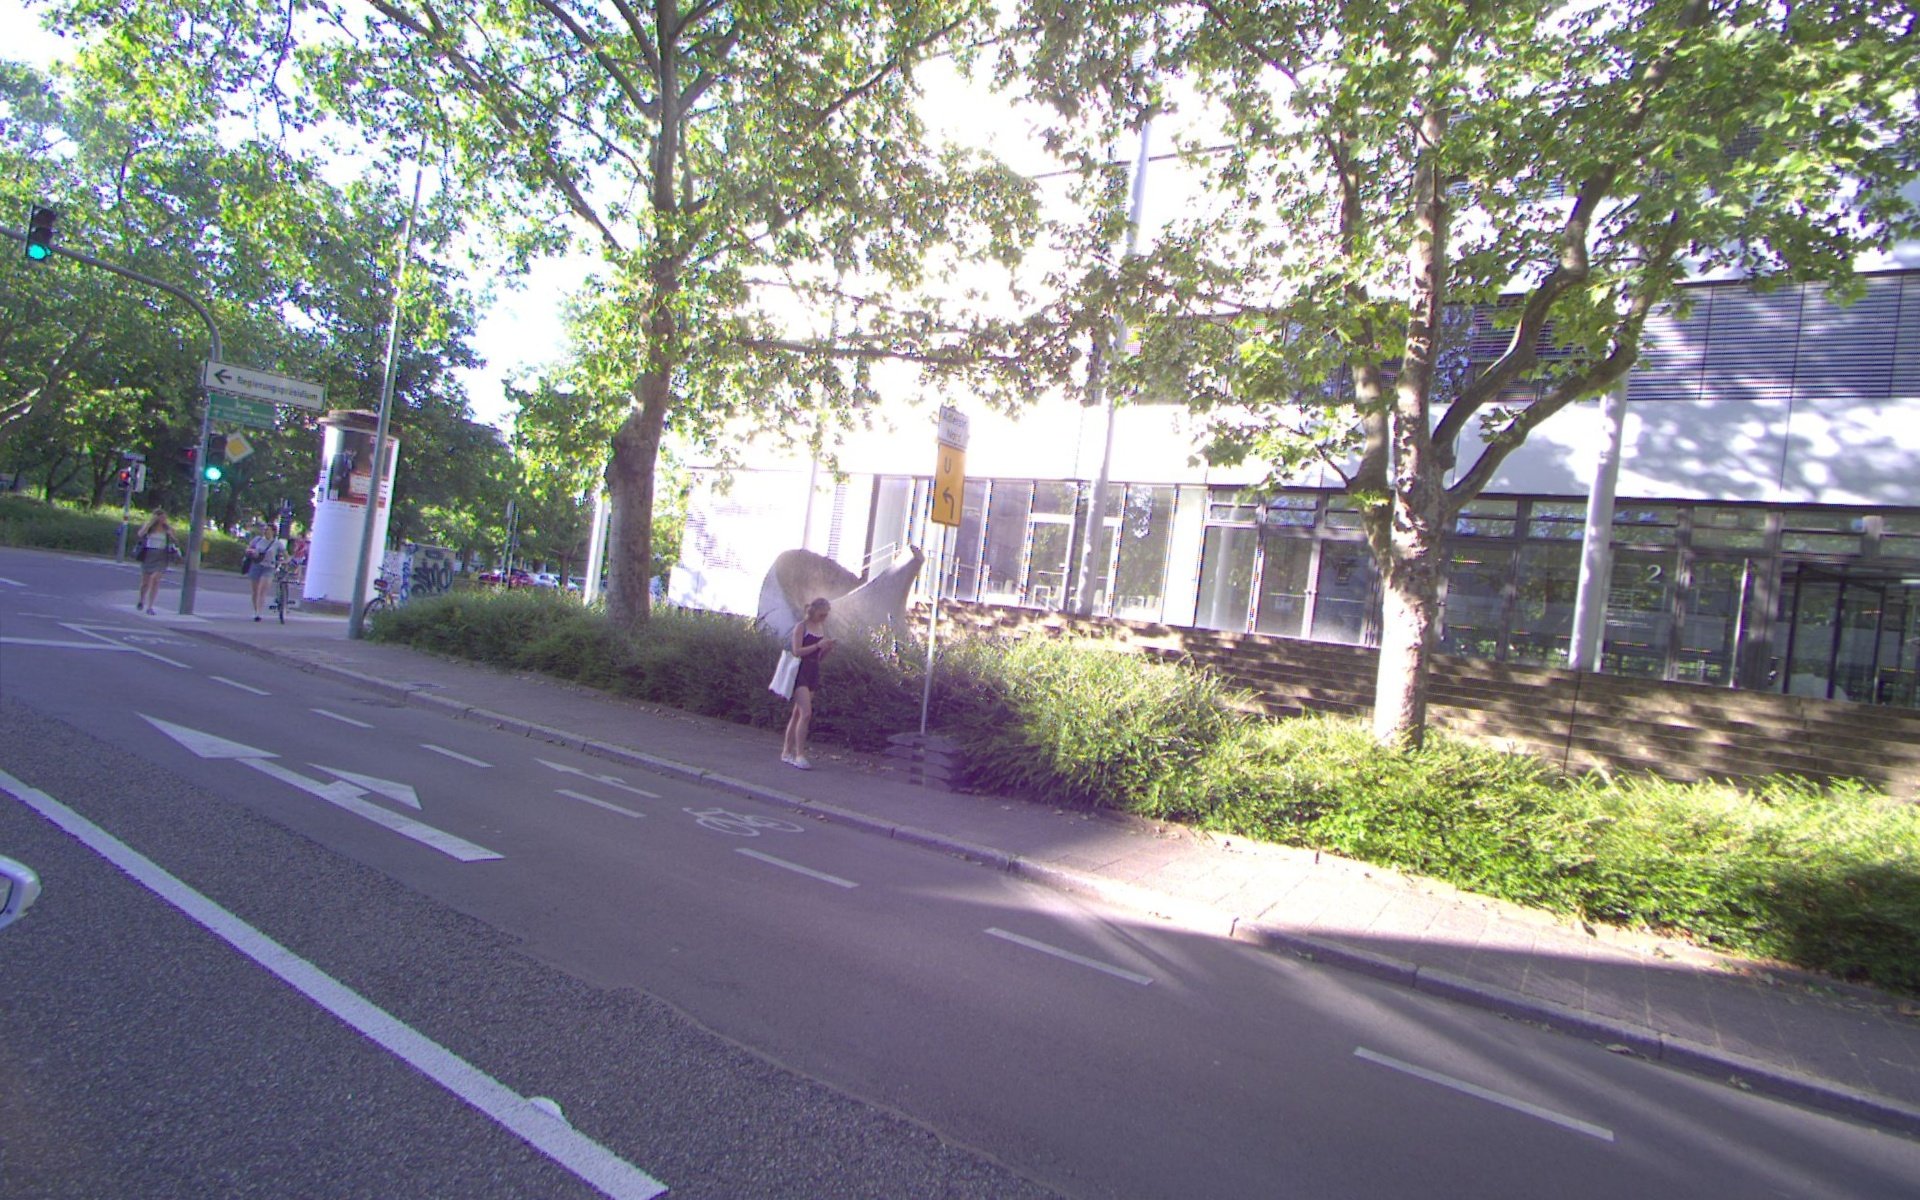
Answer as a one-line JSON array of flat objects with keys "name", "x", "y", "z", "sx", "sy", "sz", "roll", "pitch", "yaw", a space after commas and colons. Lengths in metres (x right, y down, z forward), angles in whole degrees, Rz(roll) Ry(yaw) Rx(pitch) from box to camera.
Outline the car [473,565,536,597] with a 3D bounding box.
[{"name": "car", "x": -28.512, "y": -1.223, "z": 62.917, "sx": 3.733, "sy": 1.499, "sz": 1.633, "roll": 6, "pitch": -2, "yaw": 32}]

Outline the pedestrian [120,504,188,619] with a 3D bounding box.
[{"name": "pedestrian", "x": -13.692, "y": -0.654, "z": 17.089, "sx": 0.729, "sy": 1.830, "sz": 0.899, "roll": 6, "pitch": -1, "yaw": -40}]

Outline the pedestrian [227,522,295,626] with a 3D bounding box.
[{"name": "pedestrian", "x": -12.352, "y": -0.460, "z": 17.774, "sx": 0.681, "sy": 1.717, "sz": 0.959, "roll": 9, "pitch": -2, "yaw": -43}]

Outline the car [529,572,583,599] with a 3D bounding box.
[{"name": "car", "x": -28.958, "y": -1.037, "z": 72.117, "sx": 3.733, "sy": 1.484, "sz": 1.575, "roll": 6, "pitch": -2, "yaw": 32}]

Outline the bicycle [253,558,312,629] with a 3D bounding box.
[{"name": "bicycle", "x": -12.222, "y": -0.135, "z": 18.131, "sx": 0.523, "sy": 1.112, "sz": 1.721, "roll": 9, "pitch": -2, "yaw": -42}]

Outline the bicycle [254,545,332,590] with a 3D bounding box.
[{"name": "bicycle", "x": -22.753, "y": -1.087, "z": 34.364, "sx": 0.589, "sy": 1.234, "sz": 2.035, "roll": 7, "pitch": -3, "yaw": 32}]

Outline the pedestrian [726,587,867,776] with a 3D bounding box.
[{"name": "pedestrian", "x": -1.583, "y": 0.766, "z": 9.765, "sx": 0.893, "sy": 1.651, "sz": 0.798, "roll": 7, "pitch": 2, "yaw": 34}]

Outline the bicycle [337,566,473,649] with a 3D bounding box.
[{"name": "bicycle", "x": -9.678, "y": 0.160, "z": 17.633, "sx": 0.519, "sy": 1.203, "sz": 1.980, "roll": 7, "pitch": -2, "yaw": 31}]

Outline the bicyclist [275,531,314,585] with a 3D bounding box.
[{"name": "bicyclist", "x": -22.715, "y": -1.439, "z": 34.333, "sx": 0.664, "sy": 1.717, "sz": 0.711, "roll": 7, "pitch": -2, "yaw": 33}]
